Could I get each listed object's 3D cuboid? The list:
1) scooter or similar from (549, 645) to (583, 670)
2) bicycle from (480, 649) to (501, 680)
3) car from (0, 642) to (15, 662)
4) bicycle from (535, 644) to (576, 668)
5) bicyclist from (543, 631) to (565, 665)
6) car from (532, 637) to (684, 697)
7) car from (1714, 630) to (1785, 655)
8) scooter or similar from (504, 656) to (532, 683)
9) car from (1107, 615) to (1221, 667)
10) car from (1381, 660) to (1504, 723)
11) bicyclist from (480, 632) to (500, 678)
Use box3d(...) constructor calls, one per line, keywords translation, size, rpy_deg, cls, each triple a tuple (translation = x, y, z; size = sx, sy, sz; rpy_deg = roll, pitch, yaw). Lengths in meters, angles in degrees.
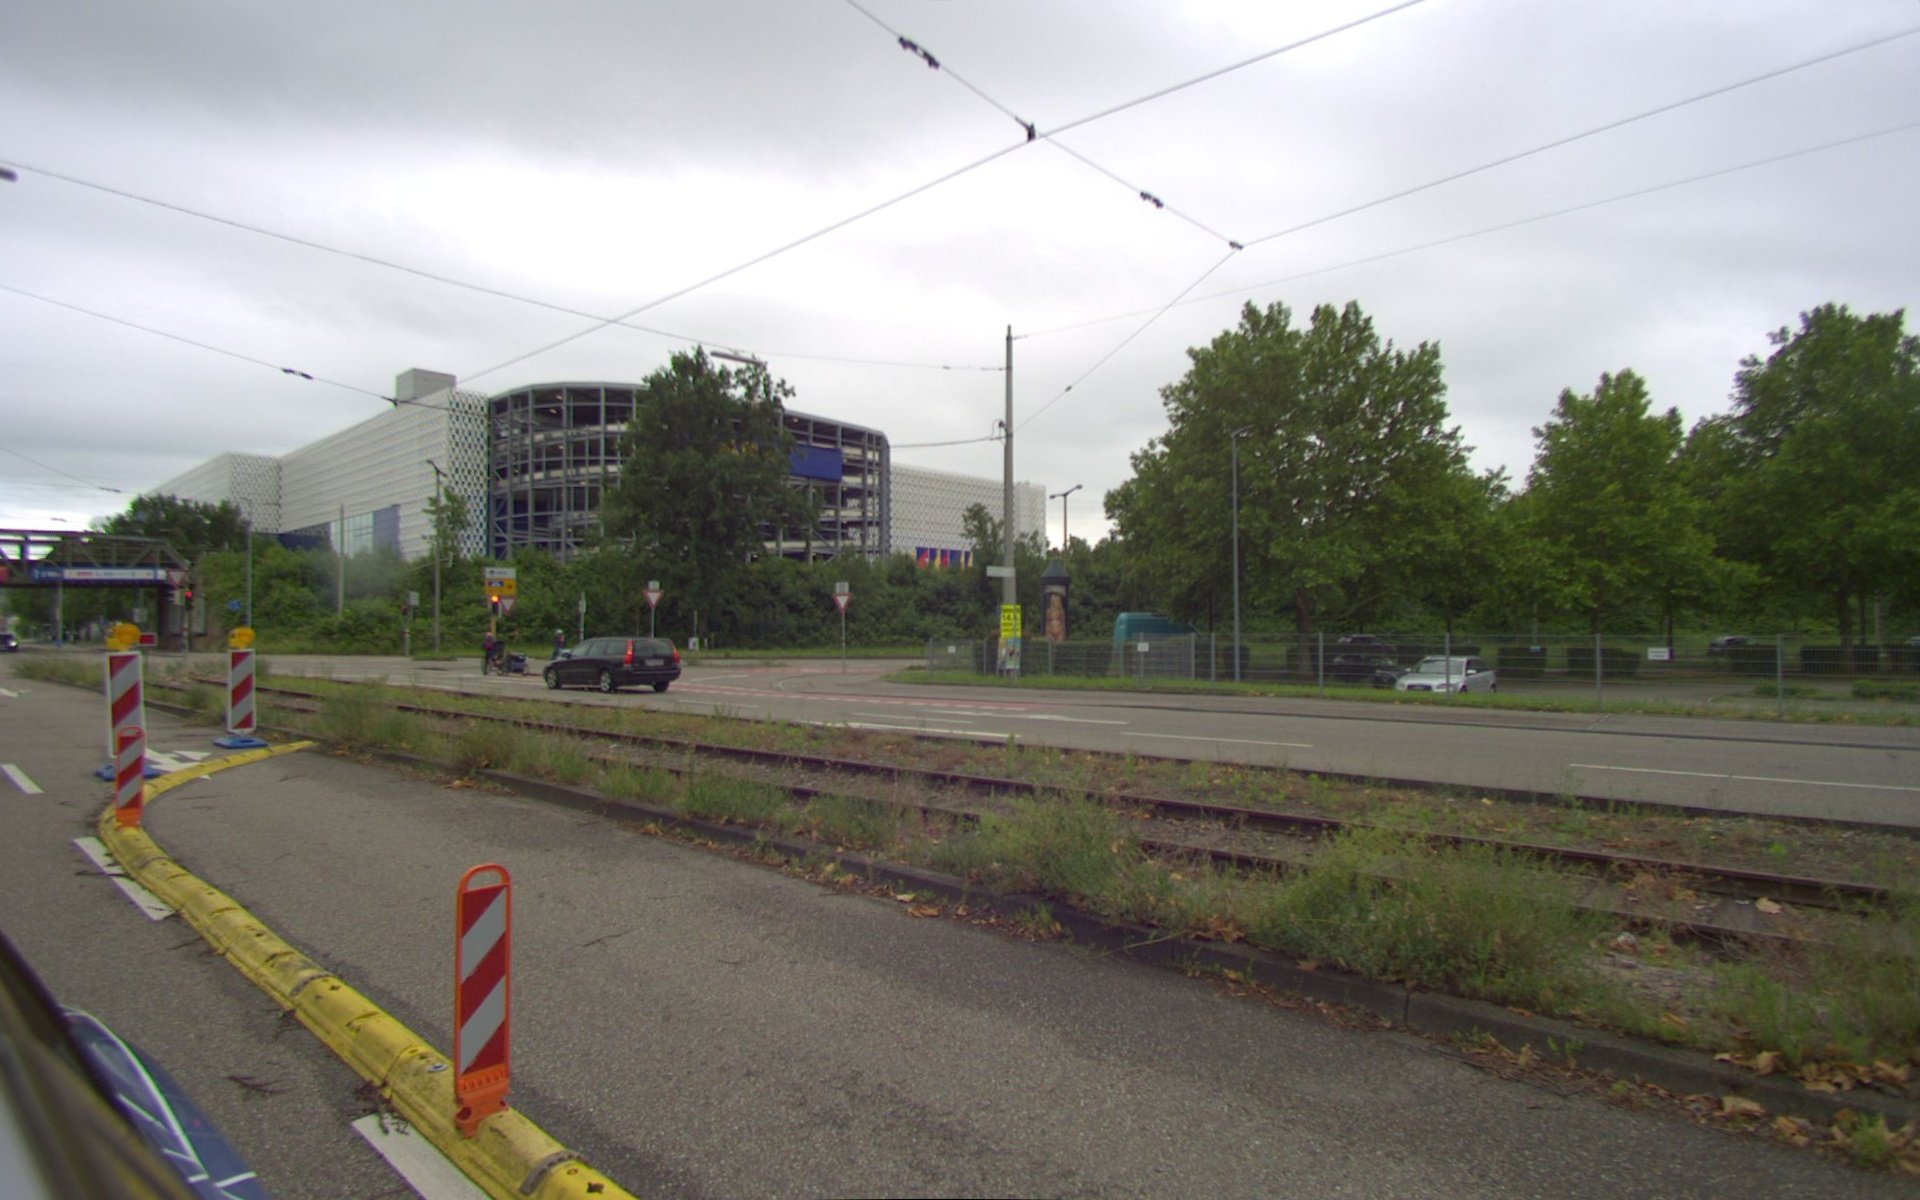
box3d(translation=(-17.420, 2.530, 44.788), size=(1.444, 1.070, 0.641), rpy_deg=(-2, -1, 31), cls="scooter or similar")
box3d(translation=(-17.598, 2.382, 37.890), size=(0.636, 1.070, 2.030), rpy_deg=(-1, -1, -26), cls="bicycle")
box3d(translation=(-70.154, 3.785, 73.557), size=(3.999, 1.435, 1.812), rpy_deg=(-3, -2, 43), cls="car")
box3d(translation=(-18.514, 2.560, 46.323), size=(1.993, 1.070, 0.641), rpy_deg=(-2, -1, 31), cls="bicycle")
box3d(translation=(-18.592, 2.214, 46.367), size=(0.624, 1.530, 0.641), rpy_deg=(-2, -1, 31), cls="bicyclist")
box3d(translation=(-9.478, 1.727, 27.123), size=(4.422, 1.484, 1.801), rpy_deg=(-2, -3, 39), cls="car")
box3d(translation=(52.099, 2.804, 66.831), size=(3.608, 1.539, 1.779), rpy_deg=(-1, -1, -13), cls="car")
box3d(translation=(-16.039, 2.512, 36.711), size=(0.832, 0.914, 1.202), rpy_deg=(-1, -1, -26), cls="scooter or similar")
box3d(translation=(11.513, 2.293, 57.292), size=(5.851, 2.847, 2.341), rpy_deg=(0, -2, -11), cls="car")
box3d(translation=(13.713, 2.515, 28.643), size=(1.913, 1.544, 4.164), rpy_deg=(-2, -3, 44), cls="car")
box3d(translation=(-17.598, 2.040, 37.878), size=(0.636, 1.696, 0.688), rpy_deg=(-1, -1, -26), cls="bicyclist")
